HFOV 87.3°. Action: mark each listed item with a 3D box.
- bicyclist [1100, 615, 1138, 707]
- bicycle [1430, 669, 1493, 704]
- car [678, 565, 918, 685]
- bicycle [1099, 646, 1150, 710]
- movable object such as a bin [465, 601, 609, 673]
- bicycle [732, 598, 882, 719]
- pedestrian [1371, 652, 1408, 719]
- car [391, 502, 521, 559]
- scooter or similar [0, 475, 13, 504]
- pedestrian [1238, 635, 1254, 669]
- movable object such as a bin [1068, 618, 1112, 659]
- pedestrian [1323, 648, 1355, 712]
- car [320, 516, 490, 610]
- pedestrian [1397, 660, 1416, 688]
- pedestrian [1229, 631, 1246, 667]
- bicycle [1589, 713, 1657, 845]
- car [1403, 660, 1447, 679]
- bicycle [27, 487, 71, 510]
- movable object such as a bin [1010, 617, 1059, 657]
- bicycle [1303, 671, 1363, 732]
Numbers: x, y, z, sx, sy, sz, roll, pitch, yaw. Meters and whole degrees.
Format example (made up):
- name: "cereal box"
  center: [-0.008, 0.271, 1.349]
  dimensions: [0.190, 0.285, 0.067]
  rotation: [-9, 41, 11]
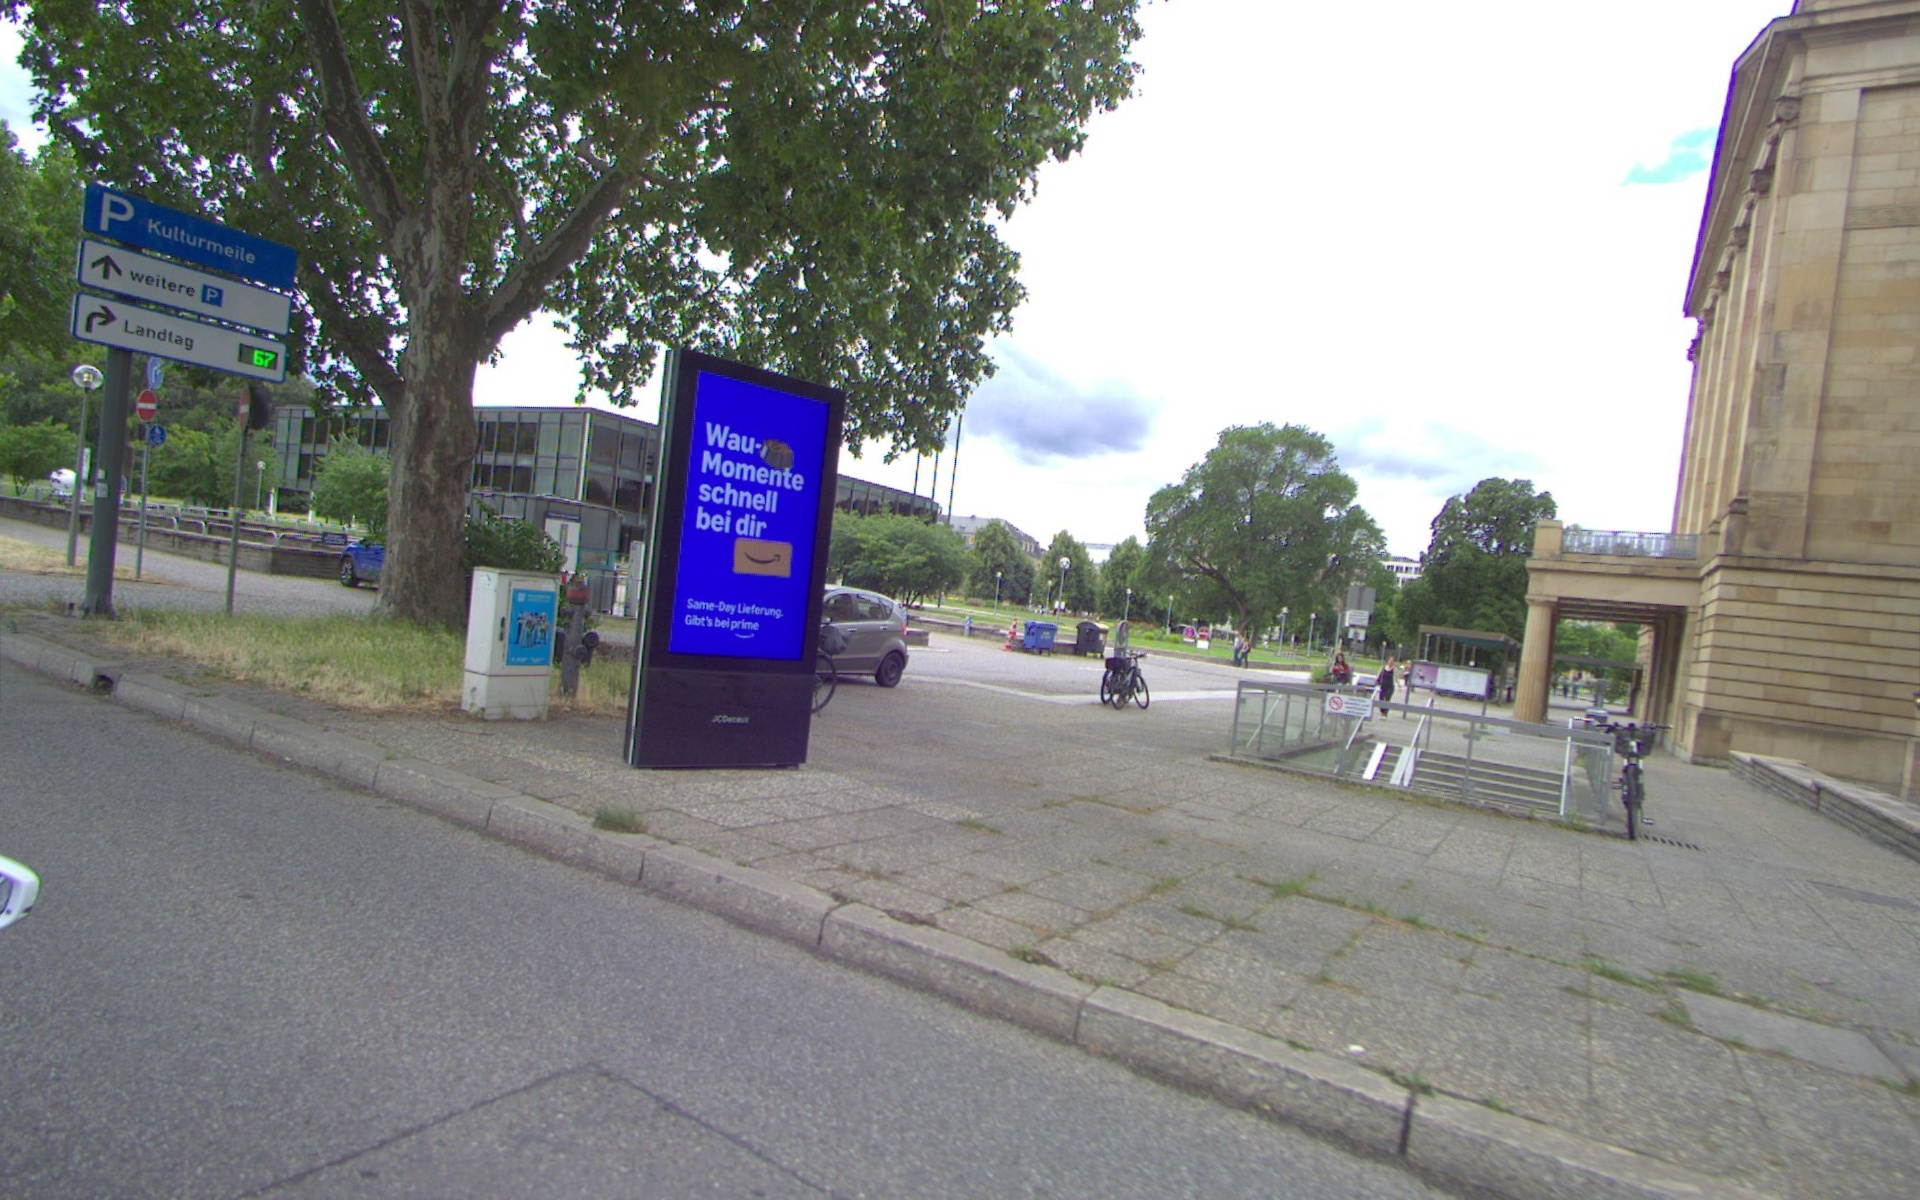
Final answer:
- name: "bicyclist"
  center: [3.175, 1.215, 20.078]
  dimensions: [0.466, 1.770, 0.437]
  rotation: [7, 1, 24]
- name: "bicycle"
  center: [26.511, 4.591, 53.213]
  dimensions: [2.849, 1.442, 0.961]
  rotation: [7, -1, 28]
- name: "car"
  center: [-2.521, 0.482, 16.503]
  dimensions: [1.651, 1.587, 3.840]
  rotation: [7, 0, 32]
- name: "bicycle"
  center: [3.241, 1.509, 19.726]
  dimensions: [0.435, 1.146, 1.754]
  rotation: [7, 0, 24]
- name: "movable object such as a bin"
  center: [-4.877, 0.439, 11.652]
  dimensions: [0.718, 0.659, 1.298]
  rotation: [6, -3, 40]
- name: "bicycle"
  center: [-1.704, 0.682, 11.462]
  dimensions: [0.484, 1.236, 1.786]
  rotation: [7, 0, 34]
- name: "pedestrian"
  center: [11.986, 2.375, 28.075]
  dimensions: [0.693, 1.744, 0.680]
  rotation: [7, 1, 30]
- name: "car"
  center: [-28.645, -3.902, 57.405]
  dimensions: [2.363, 2.288, 6.111]
  rotation: [7, 0, 34]
- name: "scooter or similar"
  center: [-45.840, -5.306, 47.851]
  dimensions: [2.190, 1.259, 0.636]
  rotation: [6, -1, 35]
- name: "pedestrian"
  center: [14.941, 2.710, 52.520]
  dimensions: [0.537, 1.683, 0.500]
  rotation: [7, -1, 5]
- name: "movable object such as a bin"
  center: [5.388, 1.585, 41.666]
  dimensions: [1.134, 1.516, 1.409]
  rotation: [7, 1, 34]
- name: "pedestrian"
  center: [10.585, 2.230, 28.092]
  dimensions: [0.559, 1.716, 0.430]
  rotation: [7, 1, 30]
- name: "car"
  center: [-12.934, -0.873, 23.391]
  dimensions: [3.961, 1.572, 1.761]
  rotation: [10, 2, 34]
- name: "pedestrian"
  center: [31.284, 5.187, 70.459]
  dimensions: [0.929, 1.826, 0.546]
  rotation: [7, -1, 5]
- name: "pedestrian"
  center: [14.664, 2.596, 53.146]
  dimensions: [0.537, 1.826, 0.500]
  rotation: [7, -1, 5]
- name: "bicycle"
  center: [6.883, 1.803, 10.490]
  dimensions: [0.382, 1.139, 2.013]
  rotation: [7, 0, 31]
- name: "car"
  center: [60.625, 9.019, 131.181]
  dimensions: [4.835, 1.759, 2.074]
  rotation: [6, -2, 35]
- name: "bicycle"
  center: [-49.283, -5.488, 54.393]
  dimensions: [2.741, 0.986, 0.956]
  rotation: [6, -2, 32]
- name: "movable object such as a bin"
  center: [2.807, 1.402, 37.816]
  dimensions: [1.134, 1.320, 1.409]
  rotation: [7, 1, 34]
- name: "bicycle"
  center: [7.444, 2.031, 20.021]
  dimensions: [0.420, 1.114, 2.166]
  rotation: [7, -1, 37]
